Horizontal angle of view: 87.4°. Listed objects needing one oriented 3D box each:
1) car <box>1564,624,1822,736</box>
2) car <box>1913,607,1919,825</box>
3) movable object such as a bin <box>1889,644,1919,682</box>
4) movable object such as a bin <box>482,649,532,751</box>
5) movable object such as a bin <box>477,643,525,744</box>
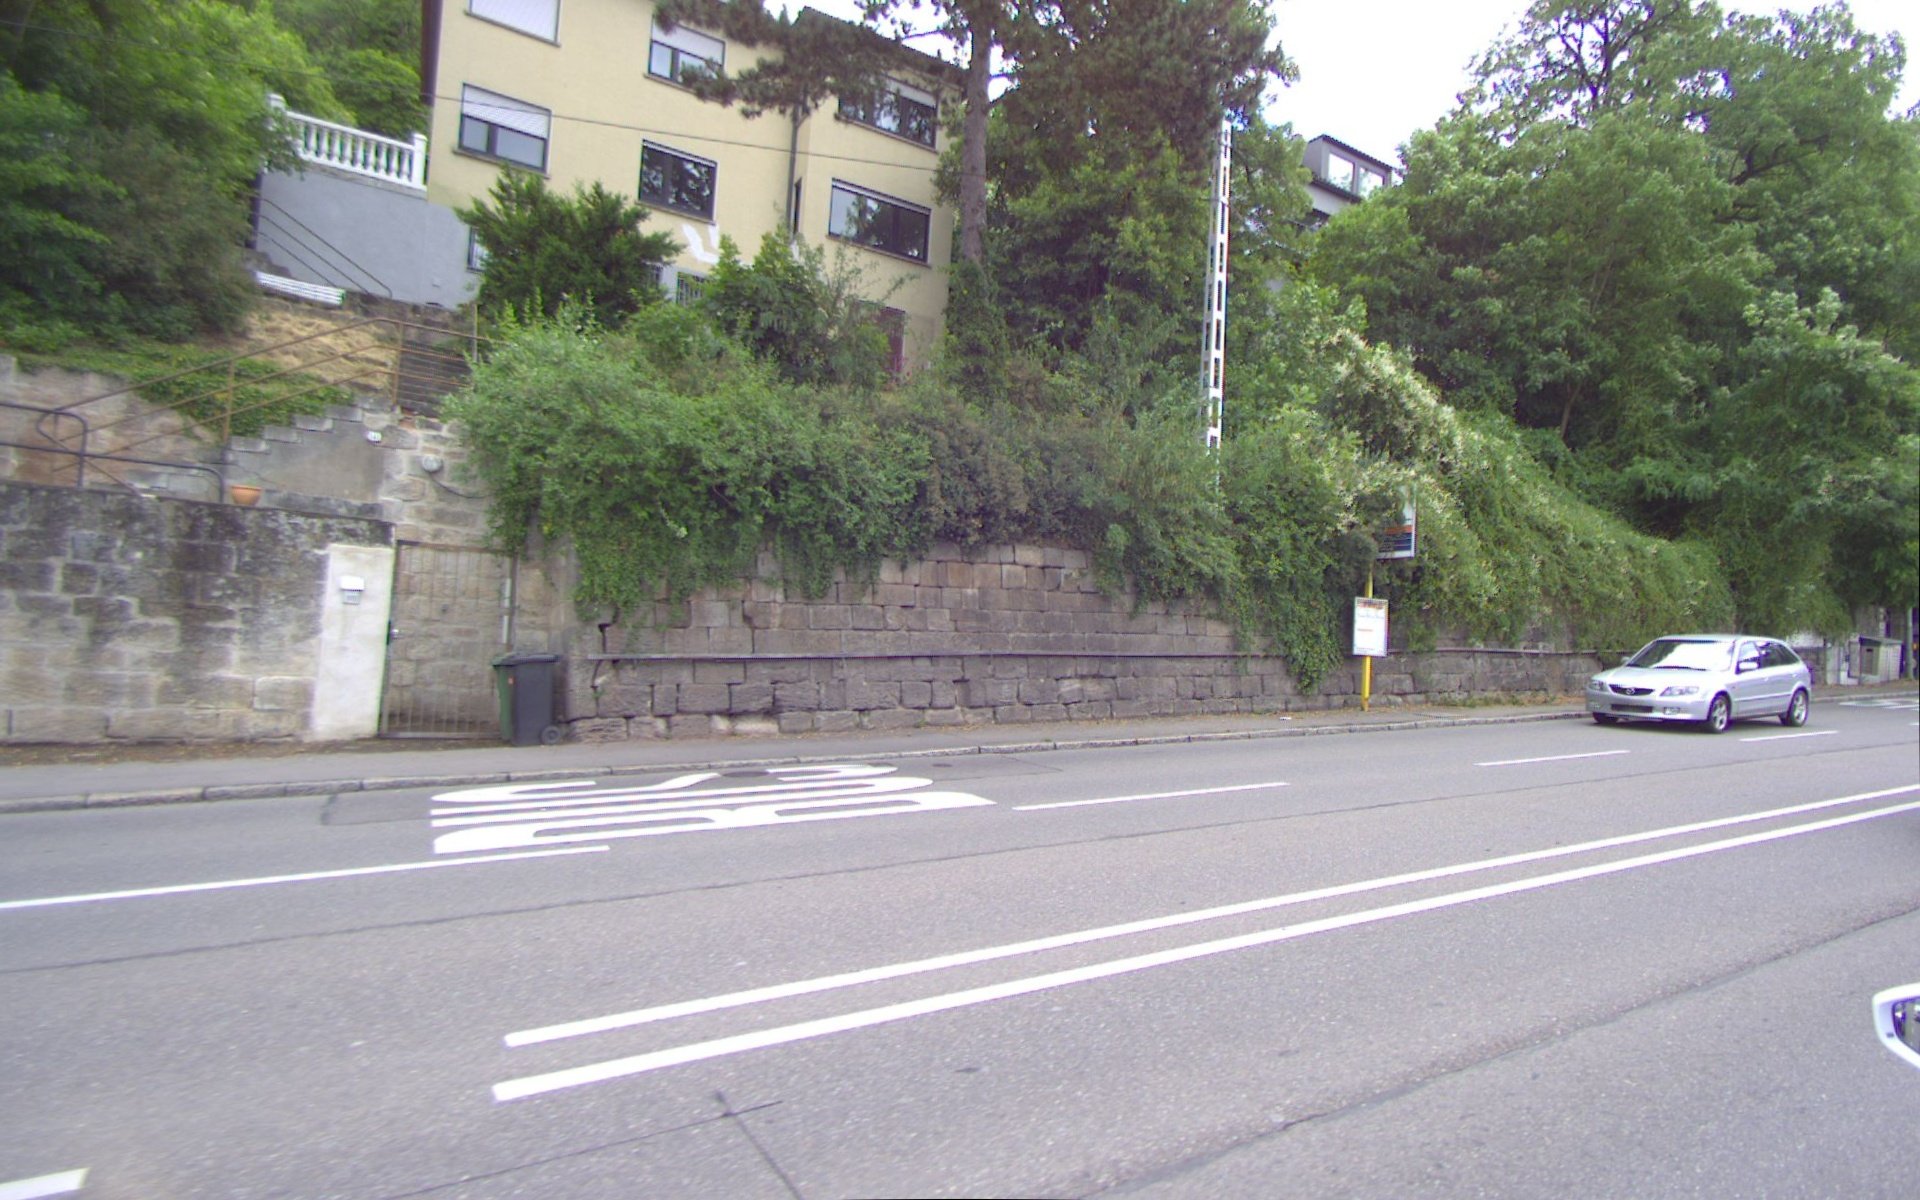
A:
[{"bbox_3d":[11.502,1.157,15.710,4.182,1.461,1.668,0,1,-30],"label":"car"},{"bbox_3d":[9.168,0.893,7.644,4.226,1.575,1.711,2,-1,-31],"label":"car"},{"bbox_3d":[27.973,1.859,29.658,0.550,1.081,0.638,2,1,-31],"label":"movable object such as a bin"},{"bbox_3d":[-4.504,0.979,9.983,0.362,0.948,0.476,2,1,-34],"label":"movable object such as a bin"},{"bbox_3d":[-4.762,0.956,10.417,0.364,0.984,0.474,2,1,-34],"label":"movable object such as a bin"}]
